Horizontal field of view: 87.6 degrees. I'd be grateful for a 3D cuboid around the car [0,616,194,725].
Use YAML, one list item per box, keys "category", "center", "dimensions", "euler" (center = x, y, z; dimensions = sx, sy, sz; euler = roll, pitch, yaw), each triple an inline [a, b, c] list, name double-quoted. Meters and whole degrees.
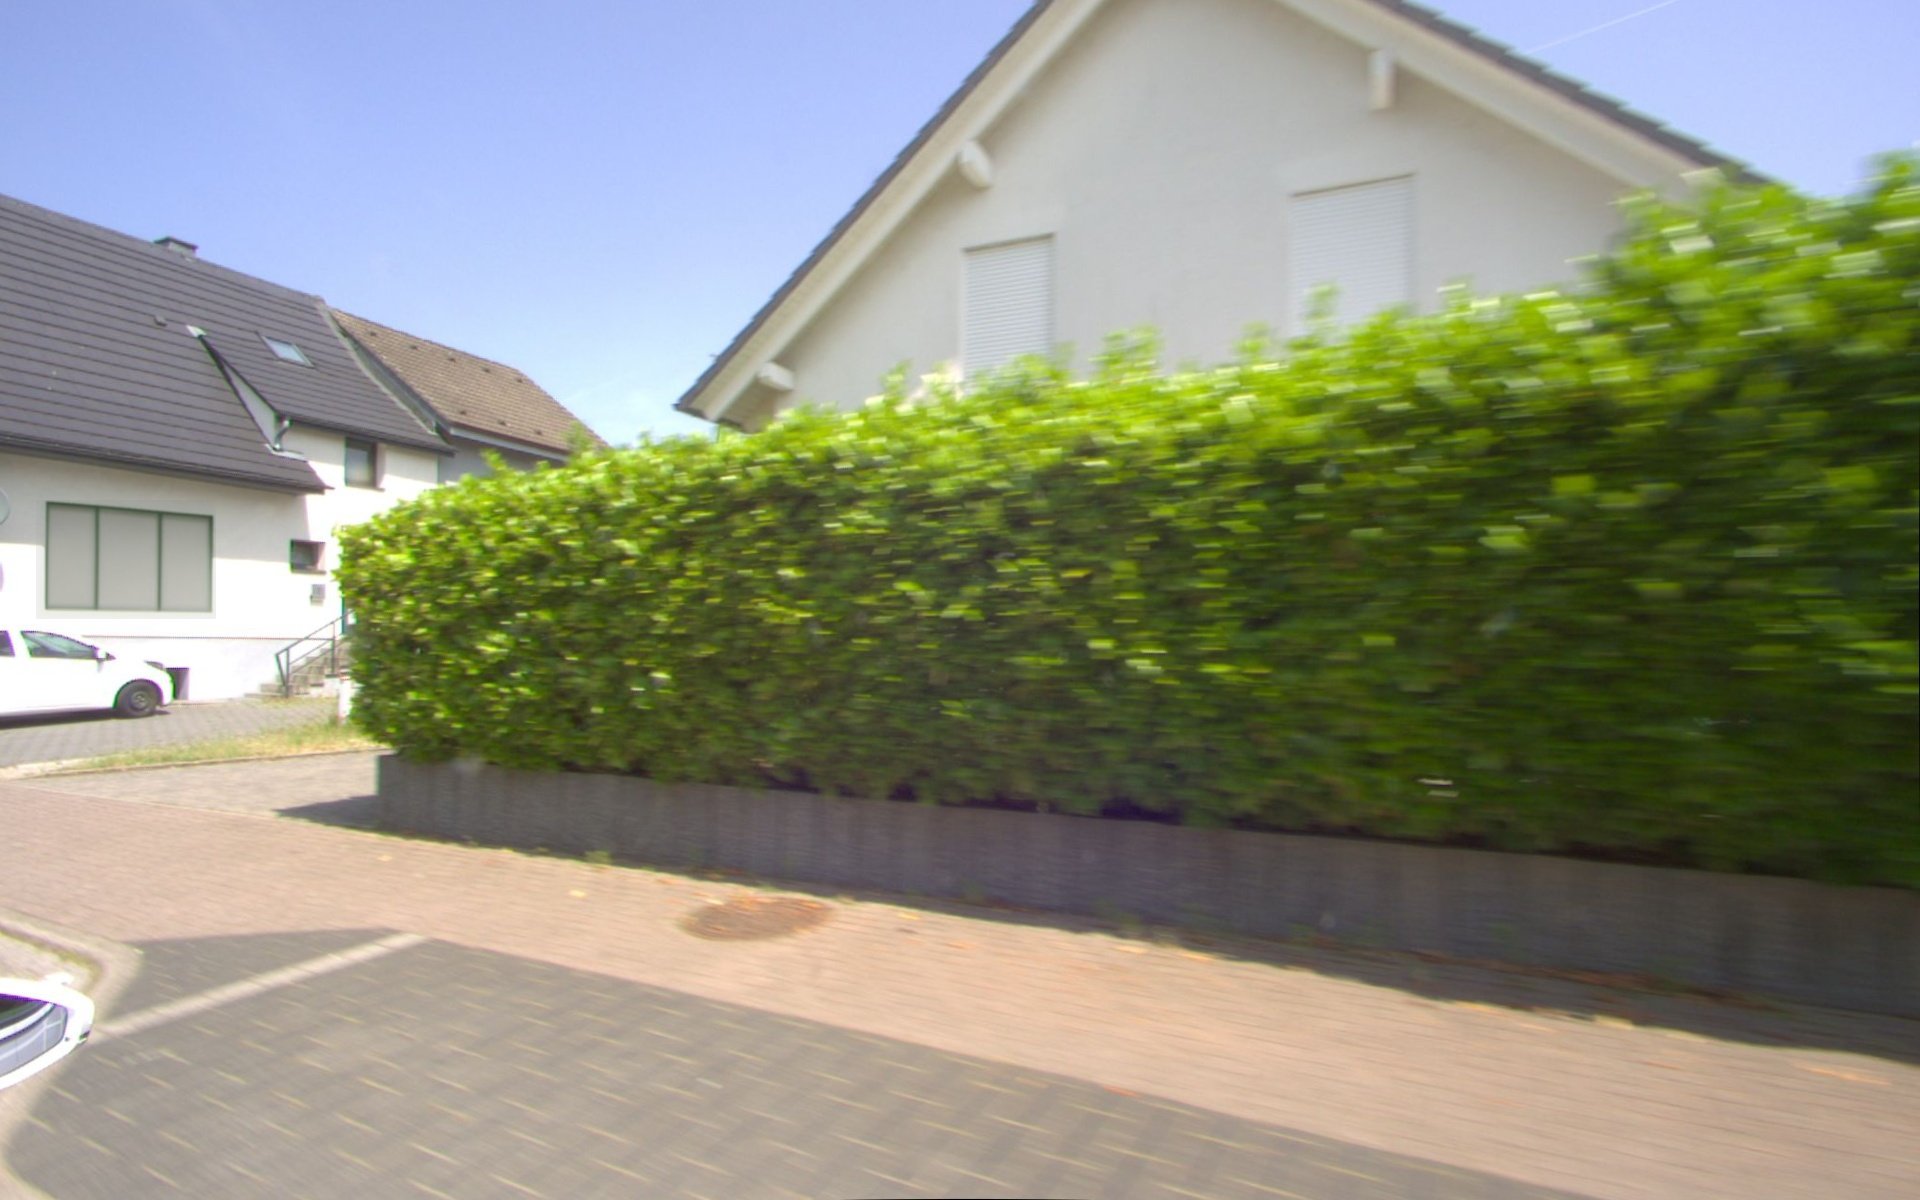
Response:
- category: "car"
  center: [-13.967, 1.005, 14.945]
  dimensions: [1.735, 1.494, 3.661]
  euler: [1, 0, 21]
